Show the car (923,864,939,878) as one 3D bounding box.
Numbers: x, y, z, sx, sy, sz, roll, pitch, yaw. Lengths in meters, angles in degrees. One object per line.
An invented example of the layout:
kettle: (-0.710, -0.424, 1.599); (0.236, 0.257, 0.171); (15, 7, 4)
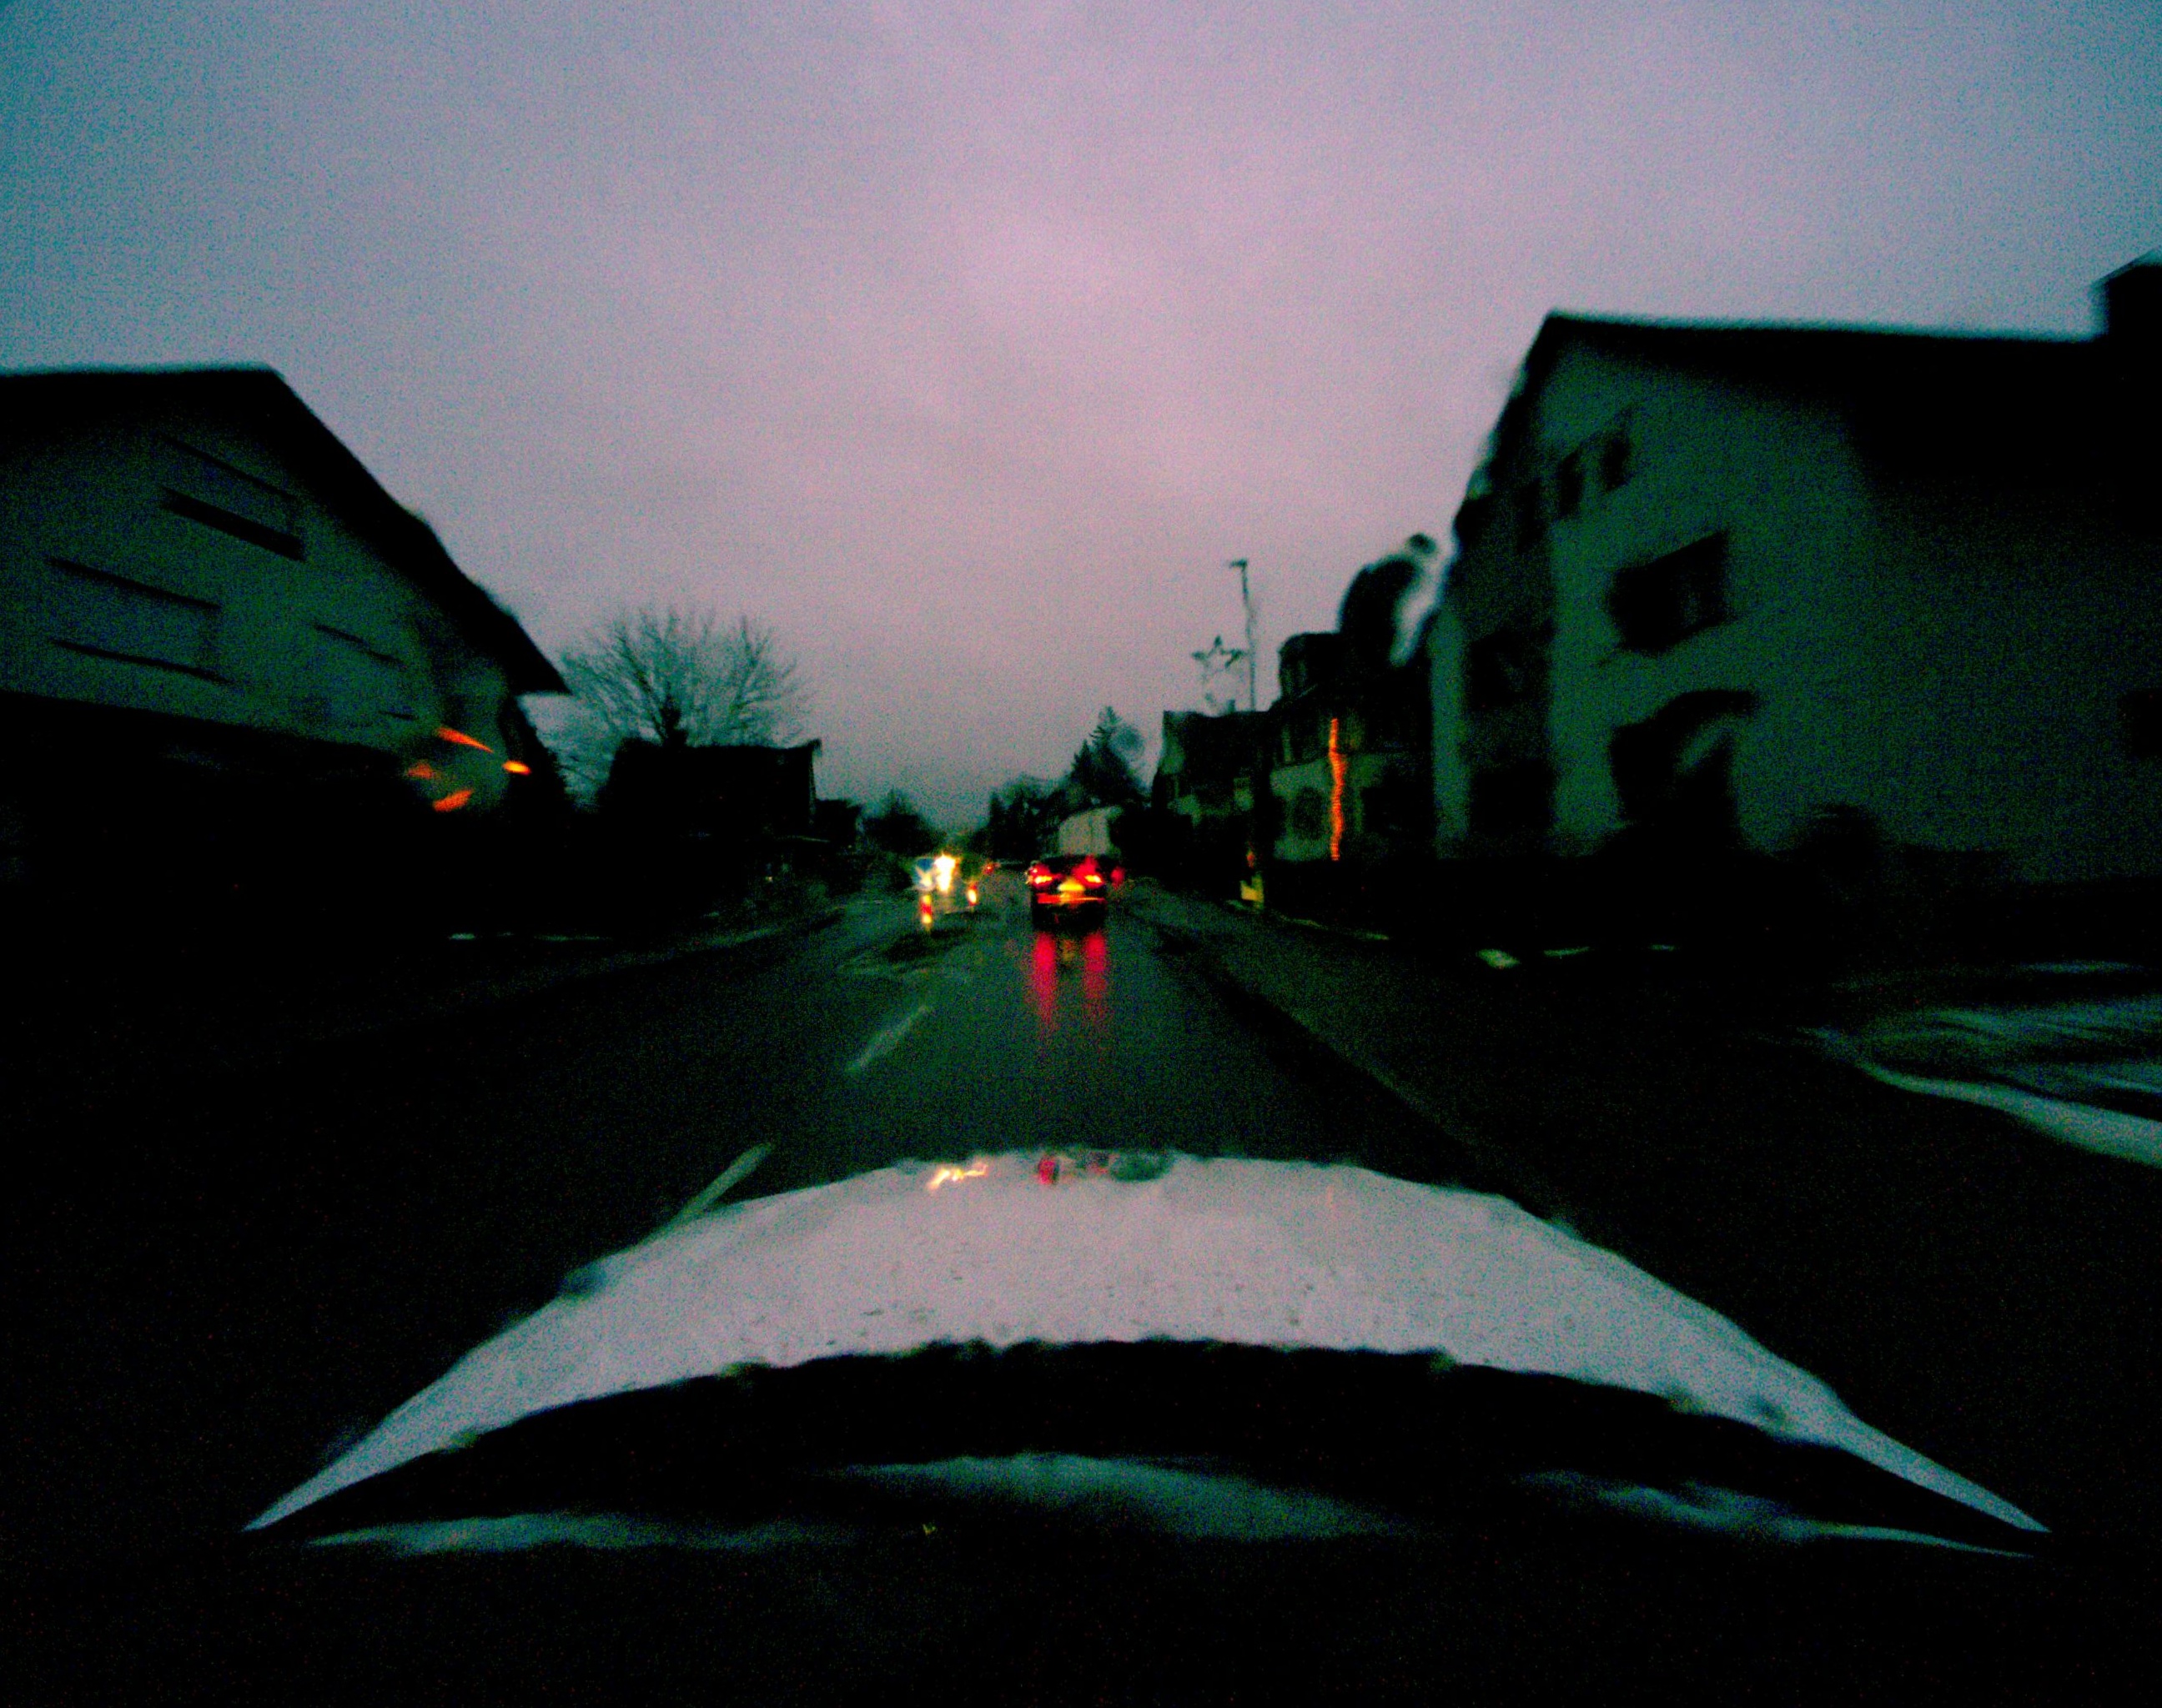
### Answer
car: (-18.237, 2.003, 99.253); (1.824, 1.554, 3.986); (-3, 0, -10)

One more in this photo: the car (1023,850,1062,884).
car: (-2.067, 0.656, 42.987); (1.855, 1.647, 3.992); (-1, 0, -6)

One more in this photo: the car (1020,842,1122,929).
car: (-0.300, 0.774, 21.531); (2.303, 1.938, 5.014); (-2, -1, -2)

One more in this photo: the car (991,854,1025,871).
car: (-9.576, 1.132, 106.610); (4.245, 2.013, 1.805); (-2, 0, -9)

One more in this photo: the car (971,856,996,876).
car: (-10.524, 1.269, 87.212); (2.310, 1.938, 5.000); (-2, -1, -10)

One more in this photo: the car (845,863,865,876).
car: (-26.170, 1.801, 94.251); (1.785, 1.393, 3.969); (0, -1, -23)
